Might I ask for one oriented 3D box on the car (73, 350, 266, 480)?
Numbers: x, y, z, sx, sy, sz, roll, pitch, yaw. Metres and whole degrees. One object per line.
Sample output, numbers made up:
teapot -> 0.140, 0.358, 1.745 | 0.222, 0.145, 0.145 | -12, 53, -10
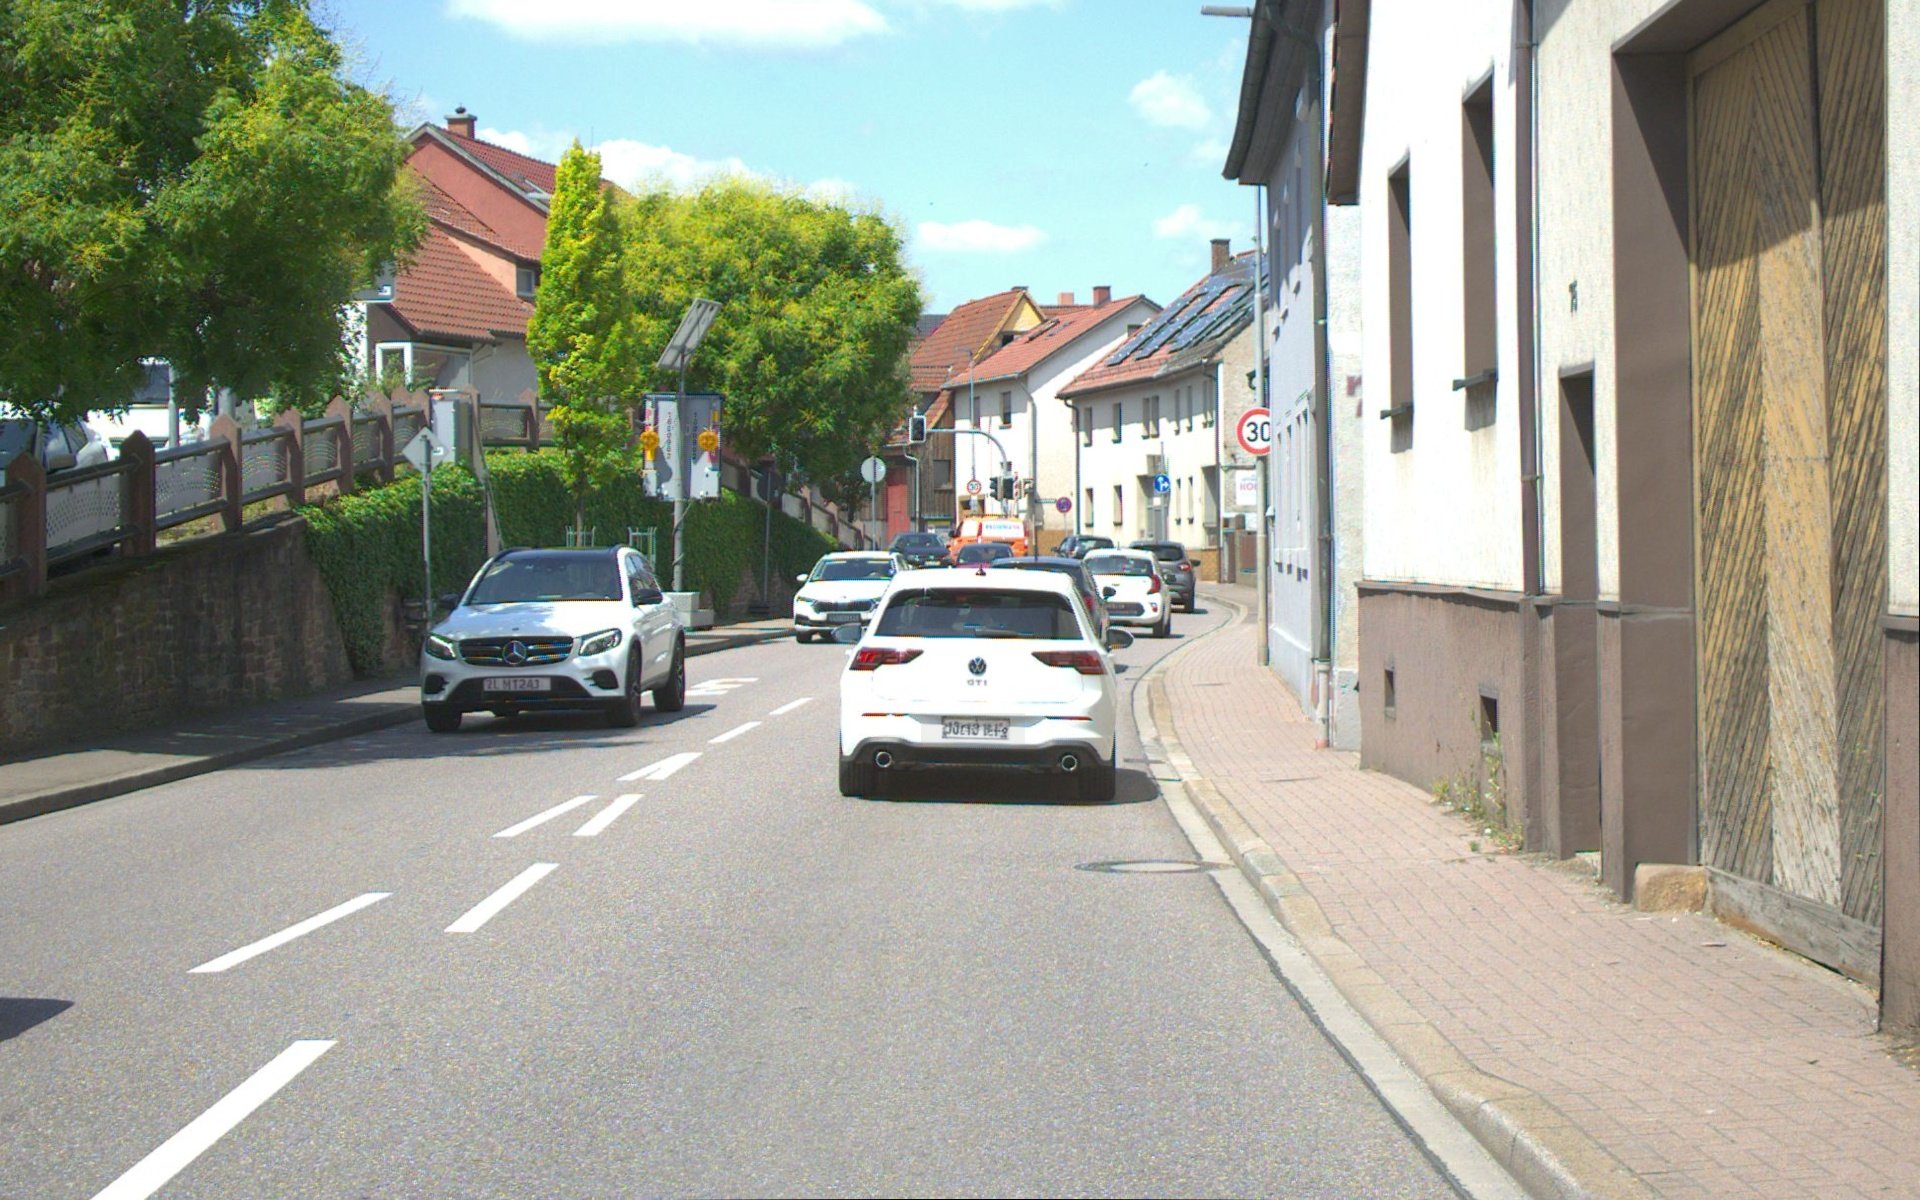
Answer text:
car -> -9.714, -2.322, 42.487 | 1.576, 1.357, 3.857 | 0, 7, -2

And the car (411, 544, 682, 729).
car -> -3.766, 0.284, 32.017 | 1.842, 1.574, 4.445 | -1, 1, 2

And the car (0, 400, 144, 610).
car -> -8.519, -0.899, 30.542 | 1.693, 1.537, 3.857 | 0, 7, -2

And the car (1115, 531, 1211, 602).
car -> 4.567, -0.769, 76.952 | 1.776, 1.533, 3.999 | 0, 1, 9

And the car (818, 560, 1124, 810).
car -> 0.083, 0.488, 22.746 | 1.808, 1.462, 4.000 | 1, 1, 1

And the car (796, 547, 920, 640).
car -> -1.655, -0.137, 57.057 | 1.813, 1.442, 4.430 | -2, 1, 1

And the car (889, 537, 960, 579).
car -> -1.201, -1.408, 114.573 | 1.793, 1.373, 4.118 | 0, 1, -9

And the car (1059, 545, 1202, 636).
car -> 2.973, -0.171, 59.124 | 1.809, 1.462, 3.998 | 2, 1, 12

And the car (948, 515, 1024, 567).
car -> 0.866, -2.031, 118.550 | 1.775, 1.759, 4.001 | 0, 1, -13

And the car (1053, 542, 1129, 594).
car -> 3.938, -0.974, 103.679 | 1.775, 1.533, 4.001 | 0, 1, -6

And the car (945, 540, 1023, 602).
car -> 0.610, -0.725, 84.175 | 1.617, 1.439, 3.801 | -2, 1, 4
